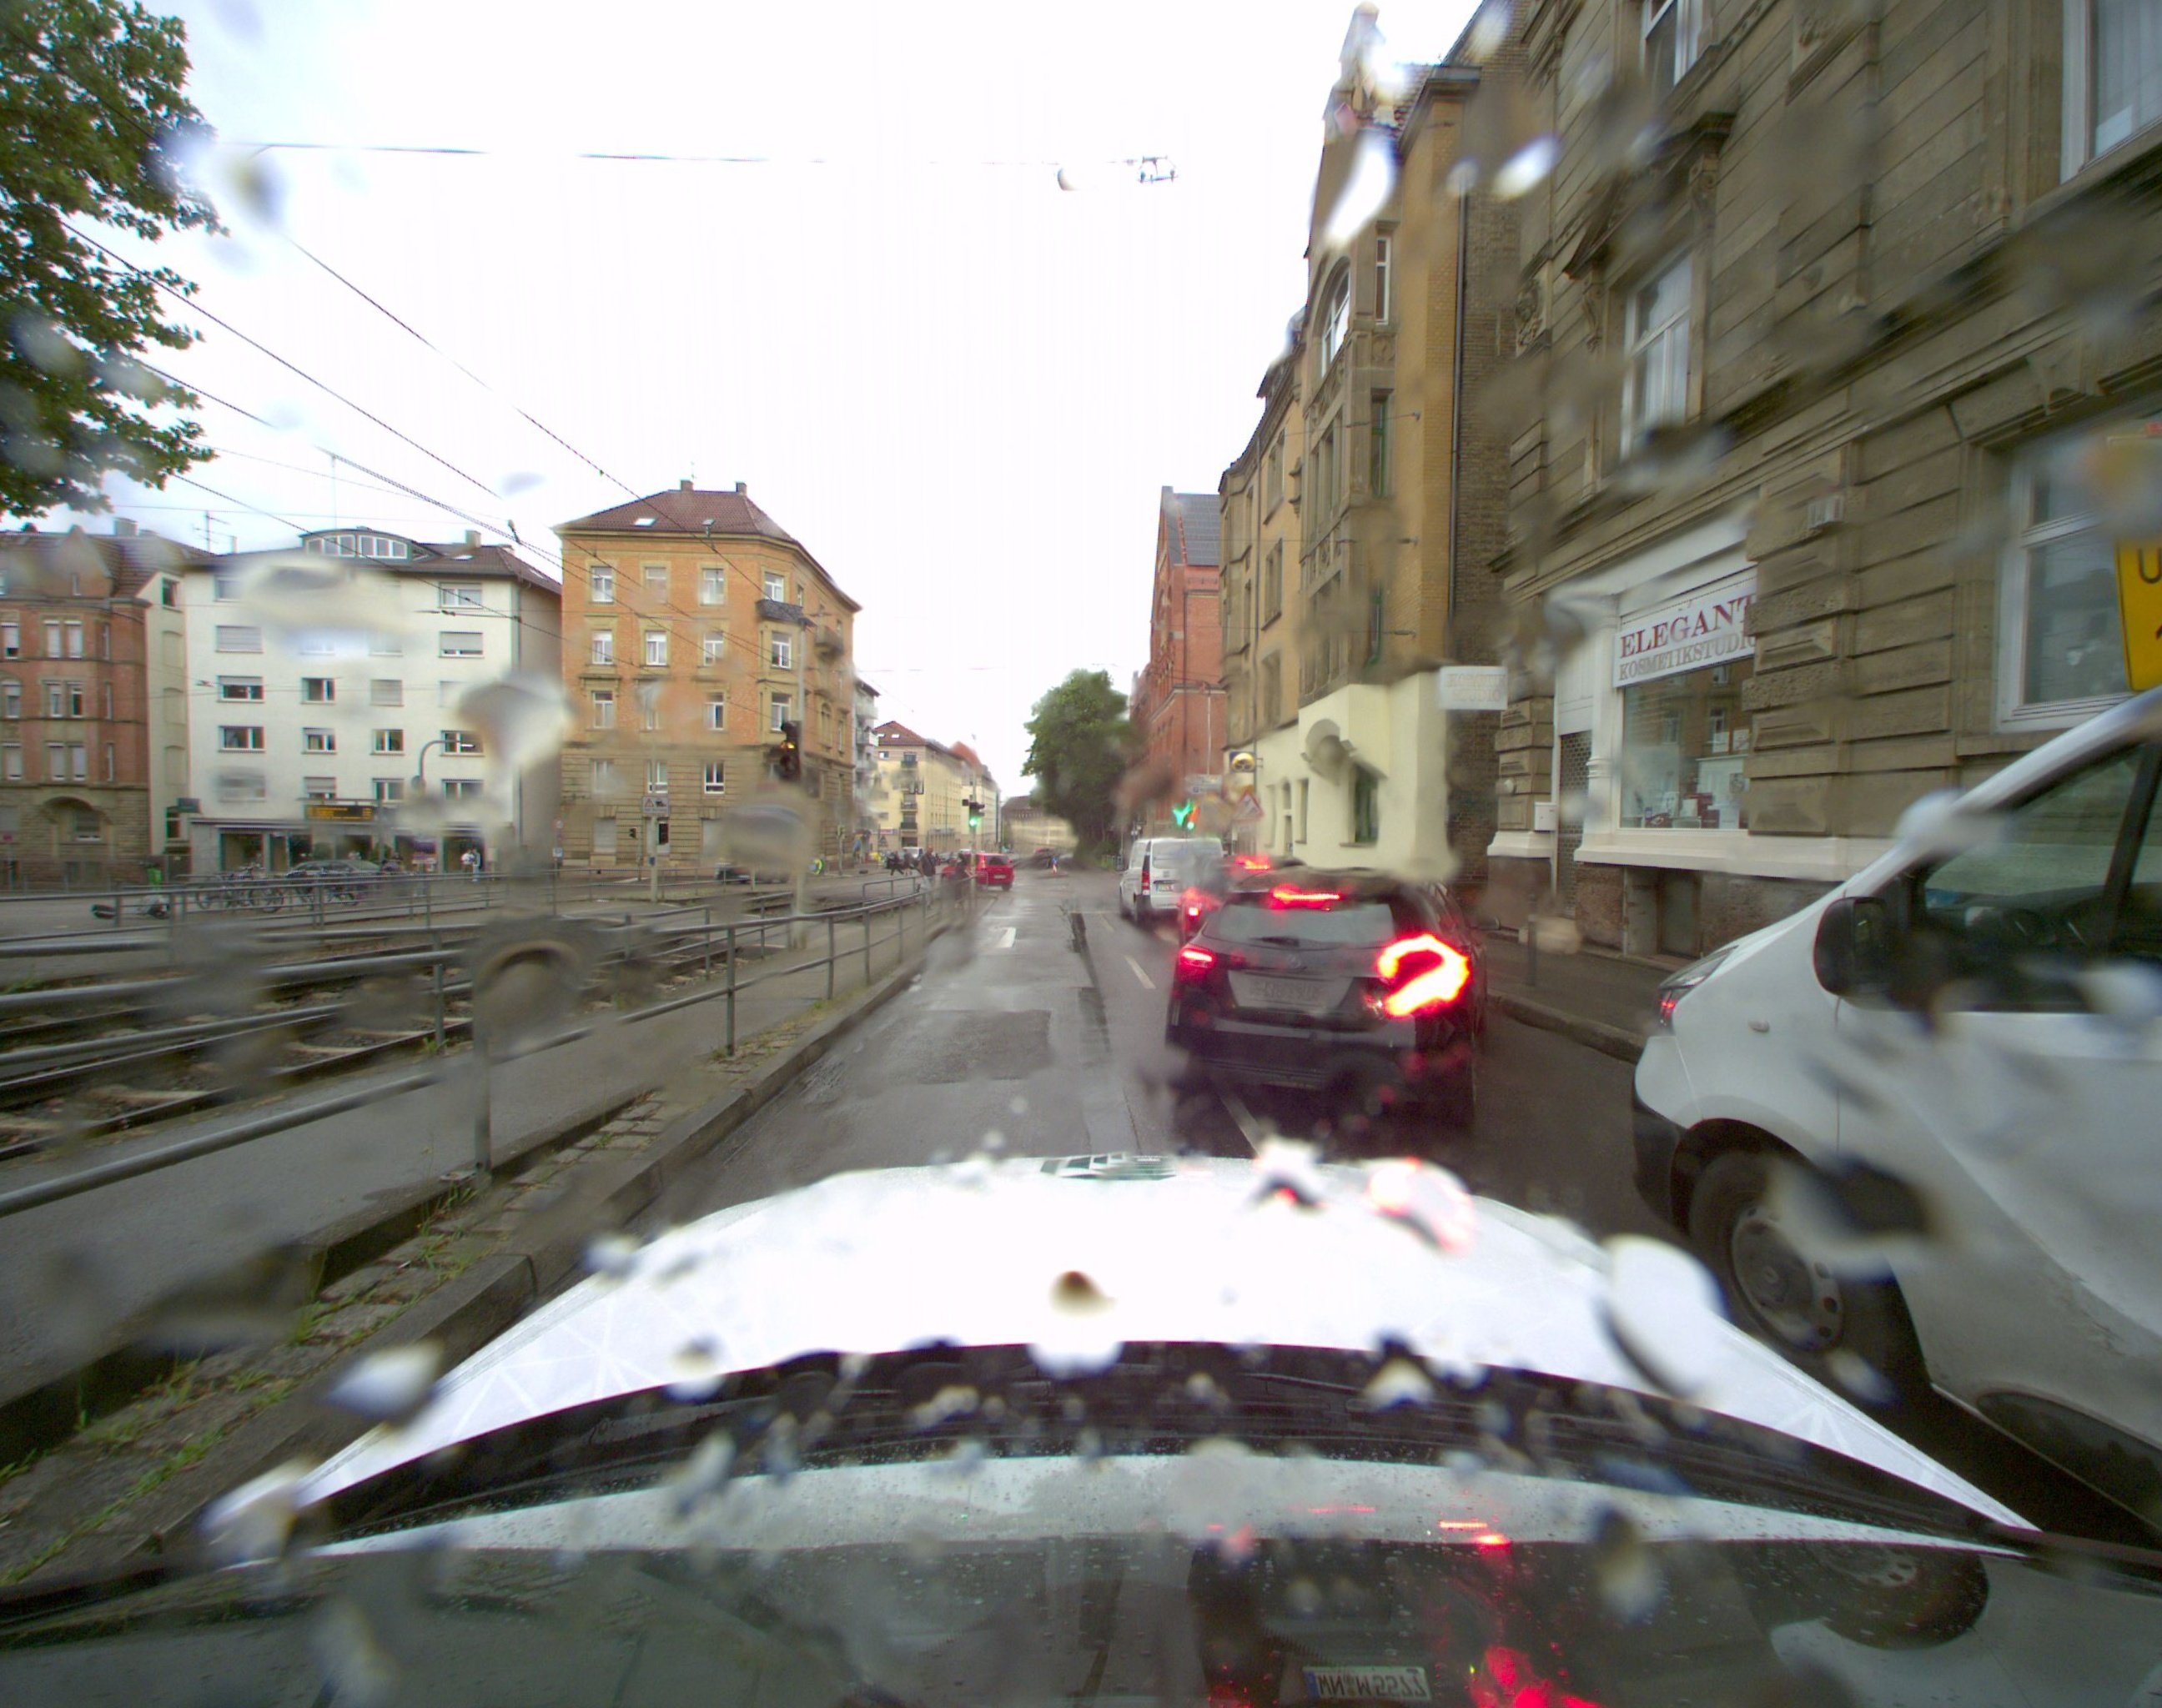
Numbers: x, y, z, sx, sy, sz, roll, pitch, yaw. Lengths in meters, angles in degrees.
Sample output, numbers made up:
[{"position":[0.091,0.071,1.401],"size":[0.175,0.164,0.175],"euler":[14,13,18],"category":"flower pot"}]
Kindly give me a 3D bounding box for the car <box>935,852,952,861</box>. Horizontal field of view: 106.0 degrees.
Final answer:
[{"position":[-16.208,0.310,96.167],"size":[1.433,1.106,3.160],"euler":[0,0,-1],"category":"car"}]

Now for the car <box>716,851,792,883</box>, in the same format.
[{"position":[-16.046,0.644,40.041],"size":[3.135,1.489,1.427],"euler":[1,0,6],"category":"car"}]

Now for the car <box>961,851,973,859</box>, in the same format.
[{"position":[-16.848,0.158,120.704],"size":[1.391,1.171,3.160],"euler":[0,0,-1],"category":"car"}]

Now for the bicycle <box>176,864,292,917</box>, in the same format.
[{"position":[-19.587,0.832,18.858],"size":[1.872,1.195,0.515],"euler":[0,0,-13],"category":"bicycle"}]

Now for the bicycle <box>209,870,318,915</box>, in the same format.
[{"position":[-19.888,0.918,19.846],"size":[1.872,1.061,0.515],"euler":[0,0,-13],"category":"bicycle"}]

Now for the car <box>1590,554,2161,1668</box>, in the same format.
[{"position":[2.836,0.448,0.680],"size":[1.915,1.936,4.684],"euler":[0,0,0],"category":"car"}]

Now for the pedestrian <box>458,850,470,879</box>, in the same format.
[{"position":[-34.790,0.566,45.930],"size":[0.520,1.622,0.480],"euler":[0,0,-41],"category":"pedestrian"}]

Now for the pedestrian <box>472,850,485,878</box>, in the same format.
[{"position":[-34.109,0.558,46.107],"size":[0.520,1.622,0.480],"euler":[0,0,-41],"category":"pedestrian"}]

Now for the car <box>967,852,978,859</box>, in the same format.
[{"position":[-16.929,0.254,126.918],"size":[1.391,1.171,3.160],"euler":[0,0,-1],"category":"car"}]

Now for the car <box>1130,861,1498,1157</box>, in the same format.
[{"position":[2.064,0.767,6.158],"size":[1.877,1.390,4.024],"euler":[0,0,28],"category":"car"}]

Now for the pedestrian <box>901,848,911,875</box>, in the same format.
[{"position":[-10.998,0.474,51.103],"size":[0.516,1.666,0.476],"euler":[1,0,-1],"category":"pedestrian"}]

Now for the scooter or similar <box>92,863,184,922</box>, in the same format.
[{"position":[-19.989,0.792,17.283],"size":[0.295,1.195,1.259],"euler":[0,0,38],"category":"scooter or similar"}]

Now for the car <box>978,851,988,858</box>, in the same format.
[{"position":[-17.359,0.079,144.451],"size":[1.391,1.171,3.160],"euler":[0,0,-1],"category":"car"}]

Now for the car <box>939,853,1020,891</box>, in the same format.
[{"position":[-4.234,0.694,33.686],"size":[1.694,1.489,3.571],"euler":[-1,0,-39],"category":"car"}]

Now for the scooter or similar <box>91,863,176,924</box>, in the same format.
[{"position":[-19.507,0.795,16.787],"size":[0.357,1.195,1.119],"euler":[0,0,38],"category":"scooter or similar"}]

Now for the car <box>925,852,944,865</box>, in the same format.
[{"position":[-15.725,0.441,87.647],"size":[1.495,1.356,3.160],"euler":[0,0,-1],"category":"car"}]

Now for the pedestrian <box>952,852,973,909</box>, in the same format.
[{"position":[-3.214,0.706,22.075],"size":[0.531,1.530,0.435],"euler":[0,0,-9],"category":"pedestrian"}]

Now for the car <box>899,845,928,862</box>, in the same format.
[{"position":[-15.765,-0.043,76.897],"size":[1.781,1.530,4.460],"euler":[0,0,-1],"category":"car"}]

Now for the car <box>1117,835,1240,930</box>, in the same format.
[{"position":[1.993,0.543,17.922],"size":[1.929,1.831,4.275],"euler":[0,0,-4],"category":"car"}]

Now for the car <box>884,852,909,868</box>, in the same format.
[{"position":[-15.946,0.478,70.480],"size":[1.448,1.318,3.292],"euler":[1,0,-2],"category":"car"}]

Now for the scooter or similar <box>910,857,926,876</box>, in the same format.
[{"position":[-10.219,0.779,51.103],"size":[0.931,1.163,0.334],"euler":[-1,1,-17],"category":"scooter or similar"}]

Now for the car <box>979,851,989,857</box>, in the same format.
[{"position":[-17.763,0.018,148.929],"size":[1.391,1.171,3.160],"euler":[0,0,-1],"category":"car"}]

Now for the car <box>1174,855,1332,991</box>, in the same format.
[{"position":[2.156,0.752,11.085],"size":[1.704,1.469,4.289],"euler":[0,0,7],"category":"car"}]

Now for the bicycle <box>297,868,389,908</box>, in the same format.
[{"position":[-20.425,0.929,22.565],"size":[1.872,1.065,0.515],"euler":[0,0,-13],"category":"bicycle"}]

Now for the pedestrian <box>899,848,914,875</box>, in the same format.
[{"position":[-10.804,0.470,50.409],"size":[0.675,1.661,0.677],"euler":[-1,0,5],"category":"pedestrian"}]

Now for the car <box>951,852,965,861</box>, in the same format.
[{"position":[-16.525,0.308,109.597],"size":[1.391,1.171,3.160],"euler":[0,0,-1],"category":"car"}]

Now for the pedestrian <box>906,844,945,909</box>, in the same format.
[{"position":[-4.229,0.608,22.131],"size":[0.745,1.724,0.732],"euler":[1,0,-45],"category":"pedestrian"}]

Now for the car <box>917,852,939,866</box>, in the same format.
[{"position":[-15.717,0.479,83.754],"size":[1.675,1.356,3.701],"euler":[0,0,-1],"category":"car"}]

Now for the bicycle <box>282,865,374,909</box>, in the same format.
[{"position":[-20.192,0.866,21.860],"size":[1.768,1.142,0.515],"euler":[0,0,-13],"category":"bicycle"}]
